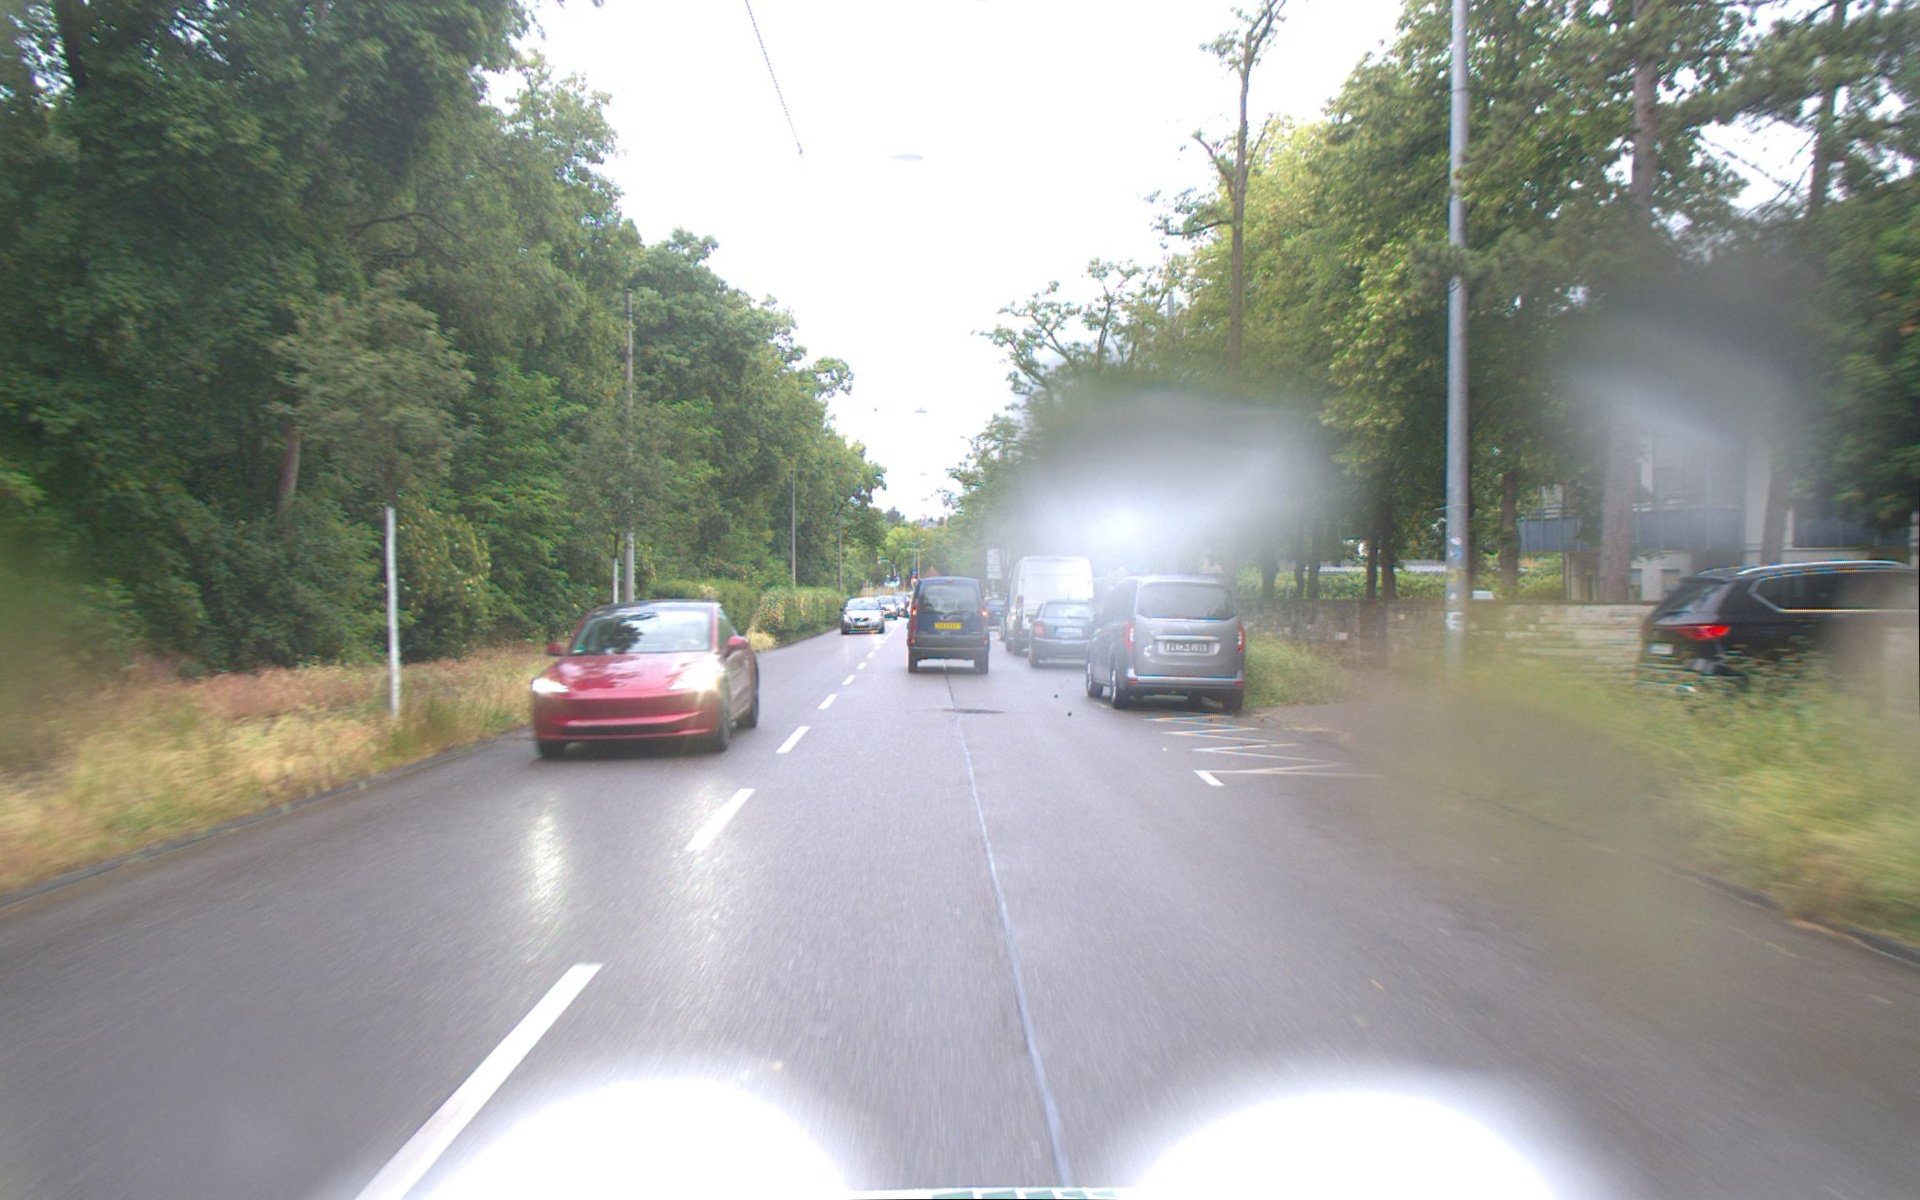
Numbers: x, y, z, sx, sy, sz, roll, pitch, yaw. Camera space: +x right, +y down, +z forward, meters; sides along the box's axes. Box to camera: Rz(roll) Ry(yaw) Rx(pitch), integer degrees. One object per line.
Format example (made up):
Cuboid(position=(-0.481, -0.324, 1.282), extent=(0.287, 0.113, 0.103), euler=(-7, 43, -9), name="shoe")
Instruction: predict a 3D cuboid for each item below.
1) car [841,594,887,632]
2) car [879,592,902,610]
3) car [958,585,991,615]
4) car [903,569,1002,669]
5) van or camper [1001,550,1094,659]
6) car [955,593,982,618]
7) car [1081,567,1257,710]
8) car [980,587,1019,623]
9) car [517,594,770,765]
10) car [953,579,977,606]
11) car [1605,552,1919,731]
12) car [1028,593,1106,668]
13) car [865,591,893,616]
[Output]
Cuboid(position=(-3.945, 0.534, 68.309), extent=(1.747, 1.505, 3.966), euler=(-1, -1, -2), name="car")
Cuboid(position=(-6.082, 0.073, 144.782), extent=(1.818, 1.494, 4.446), euler=(-2, 1, -1), name="car")
Cuboid(position=(0.796, 0.001, 90.547), extent=(1.586, 1.534, 3.833), euler=(1, 1, -3), name="car")
Cuboid(position=(-0.204, 0.339, 33.329), extent=(1.732, 1.862, 3.539), euler=(1, 1, -4), name="car")
Cuboid(position=(2.281, 0.068, 44.454), extent=(2.036, 2.697, 5.345), euler=(1, 1, -1), name="van or camper")
Cuboid(position=(0.530, 0.358, 106.325), extent=(1.600, 1.536, 2.956), euler=(1, 1, -2), name="car")
Cuboid(position=(2.914, 0.477, 23.916), extent=(1.778, 1.845, 4.281), euler=(1, 1, -3), name="car")
Cuboid(position=(1.835, 0.216, 77.539), extent=(1.686, 1.532, 4.050), euler=(1, 1, -1), name="car")
Cuboid(position=(-3.098, 0.712, 17.012), extent=(1.822, 1.506, 4.156), euler=(-1, 0, -1), name="car")
Cuboid(position=(0.418, -0.680, 154.626), extent=(2.160, 2.492, 4.728), euler=(0, 0, -1), name="car")
Cuboid(position=(9.494, 0.386, 17.841), extent=(4.221, 1.711, 2.000), euler=(-3, -1, -1), name="car")
Cuboid(position=(2.328, 0.635, 36.703), extent=(1.592, 1.489, 3.809), euler=(1, 1, 2), name="car")
Cuboid(position=(-5.296, 0.225, 108.299), extent=(1.695, 1.518, 3.999), euler=(-1, 1, -1), name="car")
